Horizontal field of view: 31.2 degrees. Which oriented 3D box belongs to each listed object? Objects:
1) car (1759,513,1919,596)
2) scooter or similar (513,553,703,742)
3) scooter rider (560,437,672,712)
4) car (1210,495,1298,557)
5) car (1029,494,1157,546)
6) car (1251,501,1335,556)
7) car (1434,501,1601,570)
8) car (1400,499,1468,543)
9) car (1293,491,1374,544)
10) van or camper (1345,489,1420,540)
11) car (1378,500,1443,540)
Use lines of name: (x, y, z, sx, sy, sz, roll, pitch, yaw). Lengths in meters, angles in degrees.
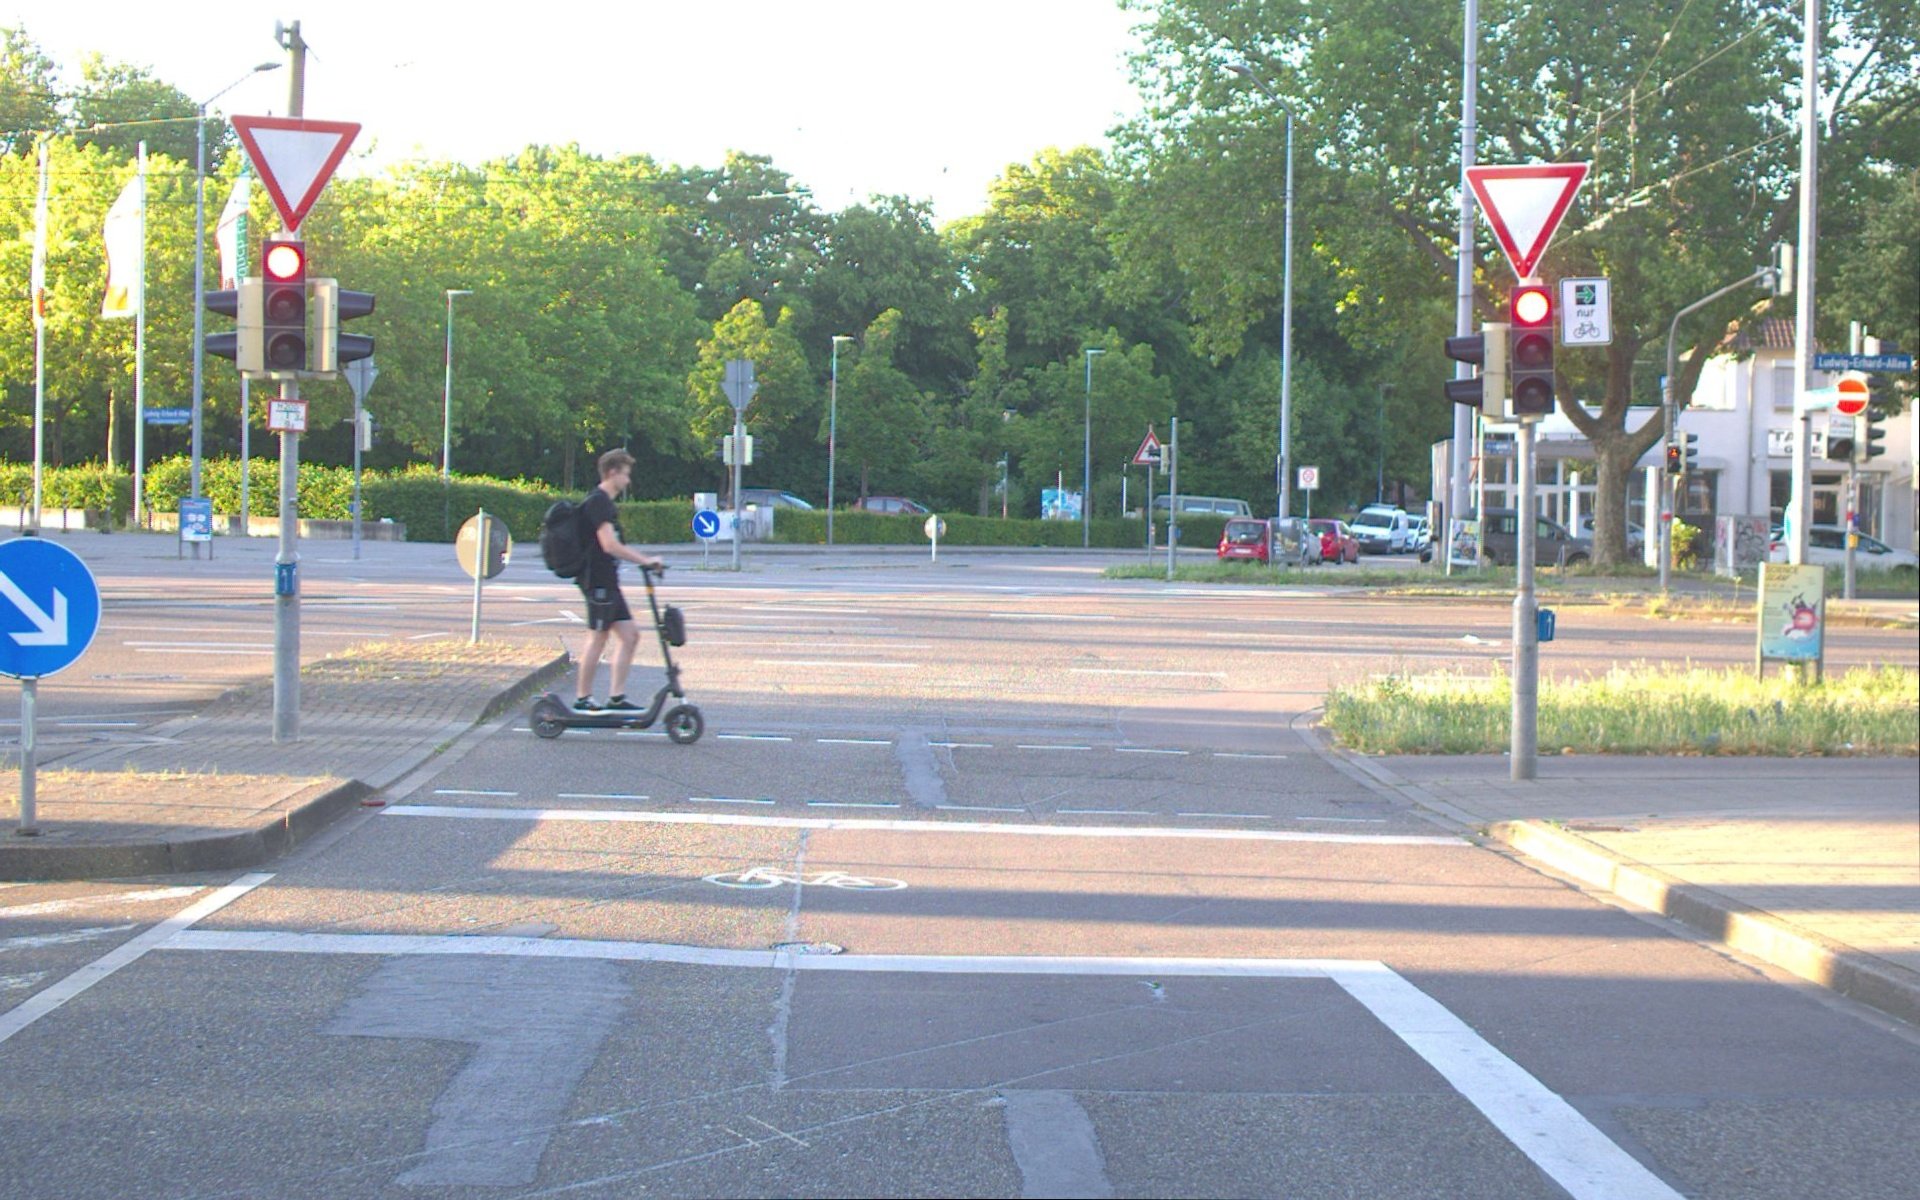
car: (21.079, -1.054, 80.070, 4.467, 1.810, 1.945, 1, 3, 1)
scooter or similar: (-2.308, 0.307, 22.621, 1.213, 1.196, 0.503, 1, 3, -5)
scooter rider: (-2.258, -0.173, 22.597, 0.705, 1.776, 0.443, 1, 3, -4)
car: (8.856, -2.233, 103.327, 1.499, 1.754, 3.399, 2, 3, 26)
car: (5.050, -3.040, 130.138, 4.685, 1.862, 2.013, 1, 3, 6)
car: (10.380, -2.229, 106.935, 1.499, 1.600, 3.399, 2, 3, 26)
car: (15.640, -1.825, 96.593, 4.468, 1.810, 1.945, 1, 3, 5)
car: (16.864, -2.834, 122.270, 1.499, 1.472, 3.080, 2, 3, 26)
car: (12.022, -2.673, 110.607, 1.499, 1.600, 3.399, 2, 3, 26)
van or camper: (16.995, -3.445, 138.206, 1.627, 1.975, 3.801, 2, 3, 29)
car: (18.625, -3.313, 142.012, 1.499, 1.600, 3.398, 2, 3, 29)
